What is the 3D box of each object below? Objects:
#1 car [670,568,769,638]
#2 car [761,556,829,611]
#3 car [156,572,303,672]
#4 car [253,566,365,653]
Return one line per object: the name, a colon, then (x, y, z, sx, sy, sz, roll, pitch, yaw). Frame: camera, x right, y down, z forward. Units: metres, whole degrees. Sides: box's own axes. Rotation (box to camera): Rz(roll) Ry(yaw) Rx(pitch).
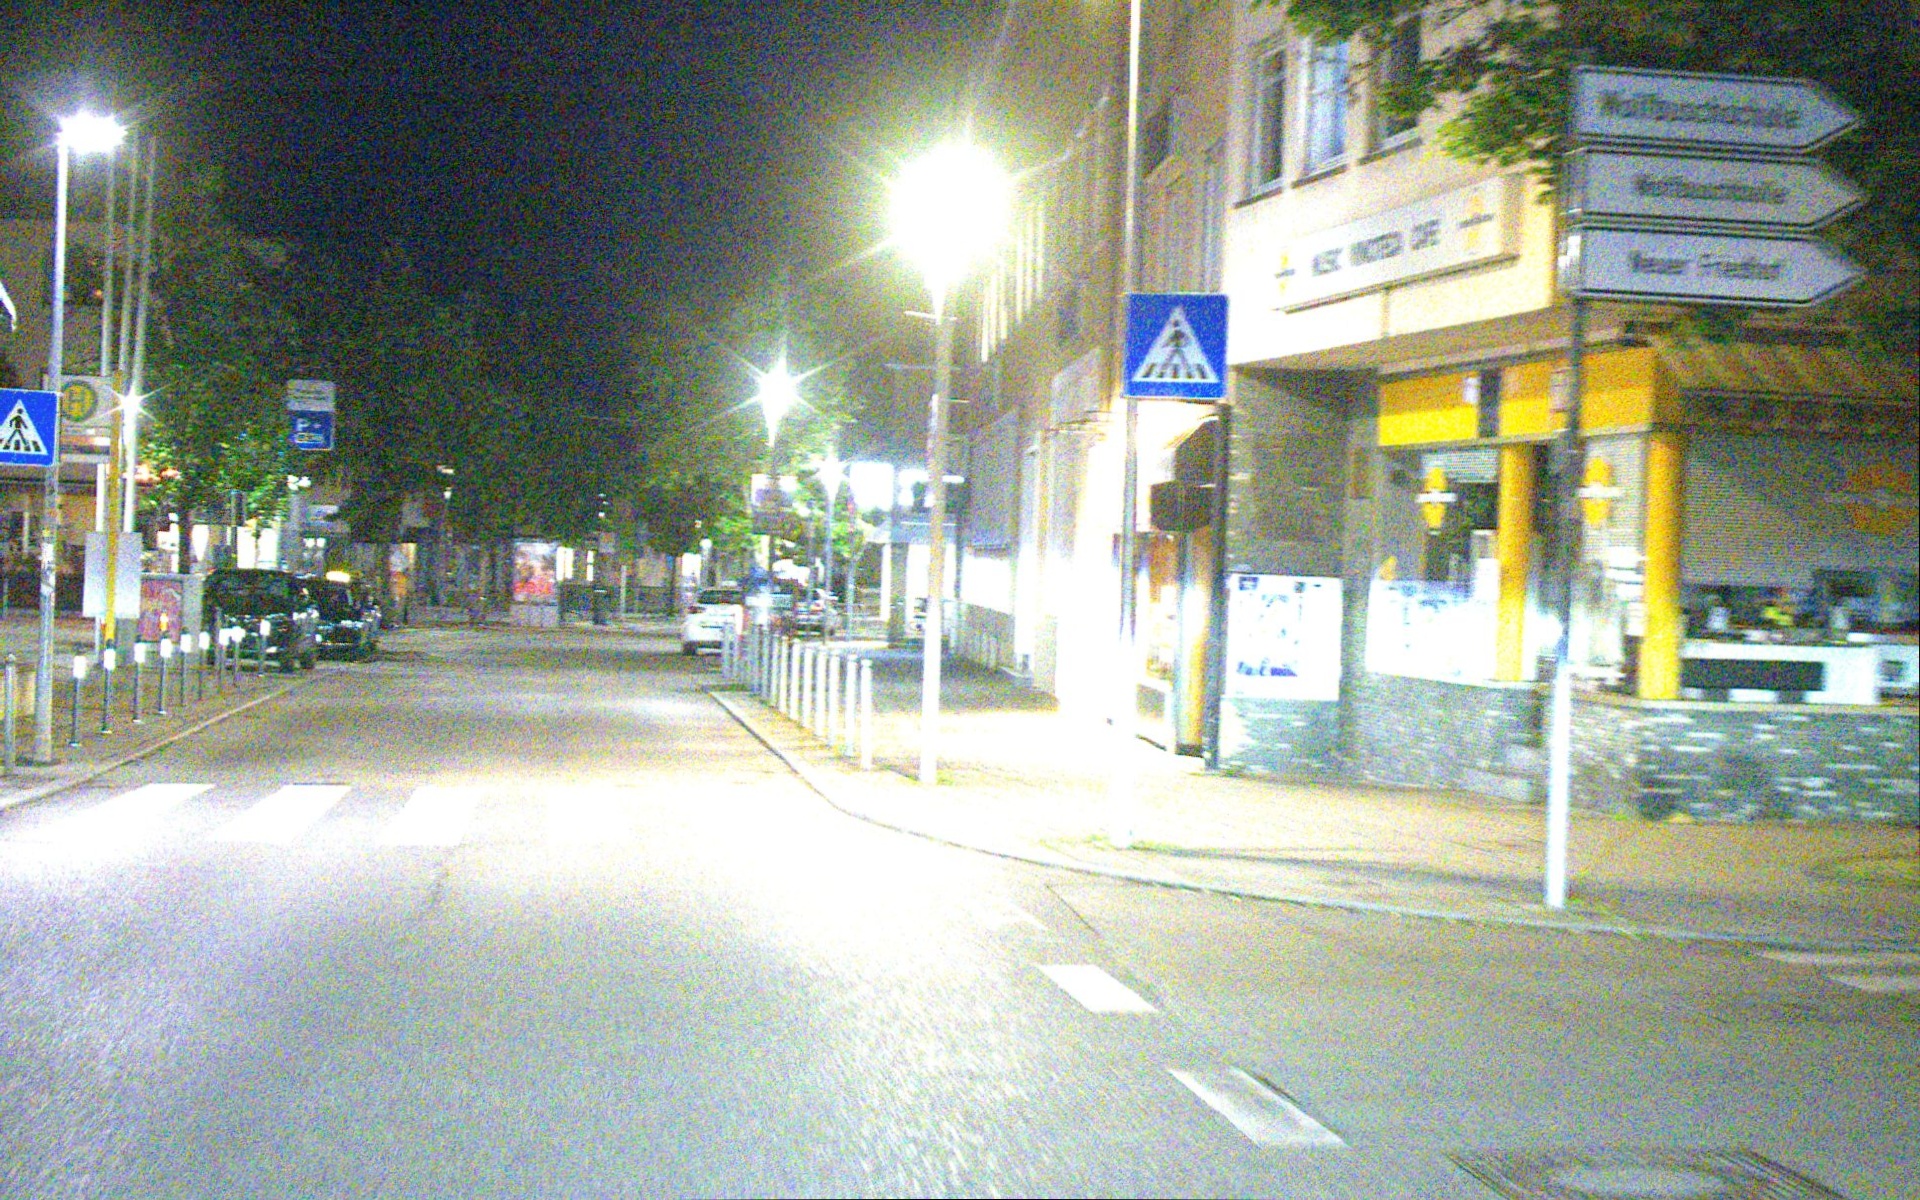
car: (-5.112, 0.052, 72.703, 1.833, 1.354, 4.001, 0, 2, -8)
car: (-4.922, -0.510, 102.065, 1.709, 1.542, 3.540, 0, 2, -8)
car: (-11.026, 0.319, 52.111, 1.833, 1.448, 4.001, 0, 0, -7)
car: (-11.932, 0.145, 62.838, 1.833, 1.448, 4.001, 0, 2, -13)
